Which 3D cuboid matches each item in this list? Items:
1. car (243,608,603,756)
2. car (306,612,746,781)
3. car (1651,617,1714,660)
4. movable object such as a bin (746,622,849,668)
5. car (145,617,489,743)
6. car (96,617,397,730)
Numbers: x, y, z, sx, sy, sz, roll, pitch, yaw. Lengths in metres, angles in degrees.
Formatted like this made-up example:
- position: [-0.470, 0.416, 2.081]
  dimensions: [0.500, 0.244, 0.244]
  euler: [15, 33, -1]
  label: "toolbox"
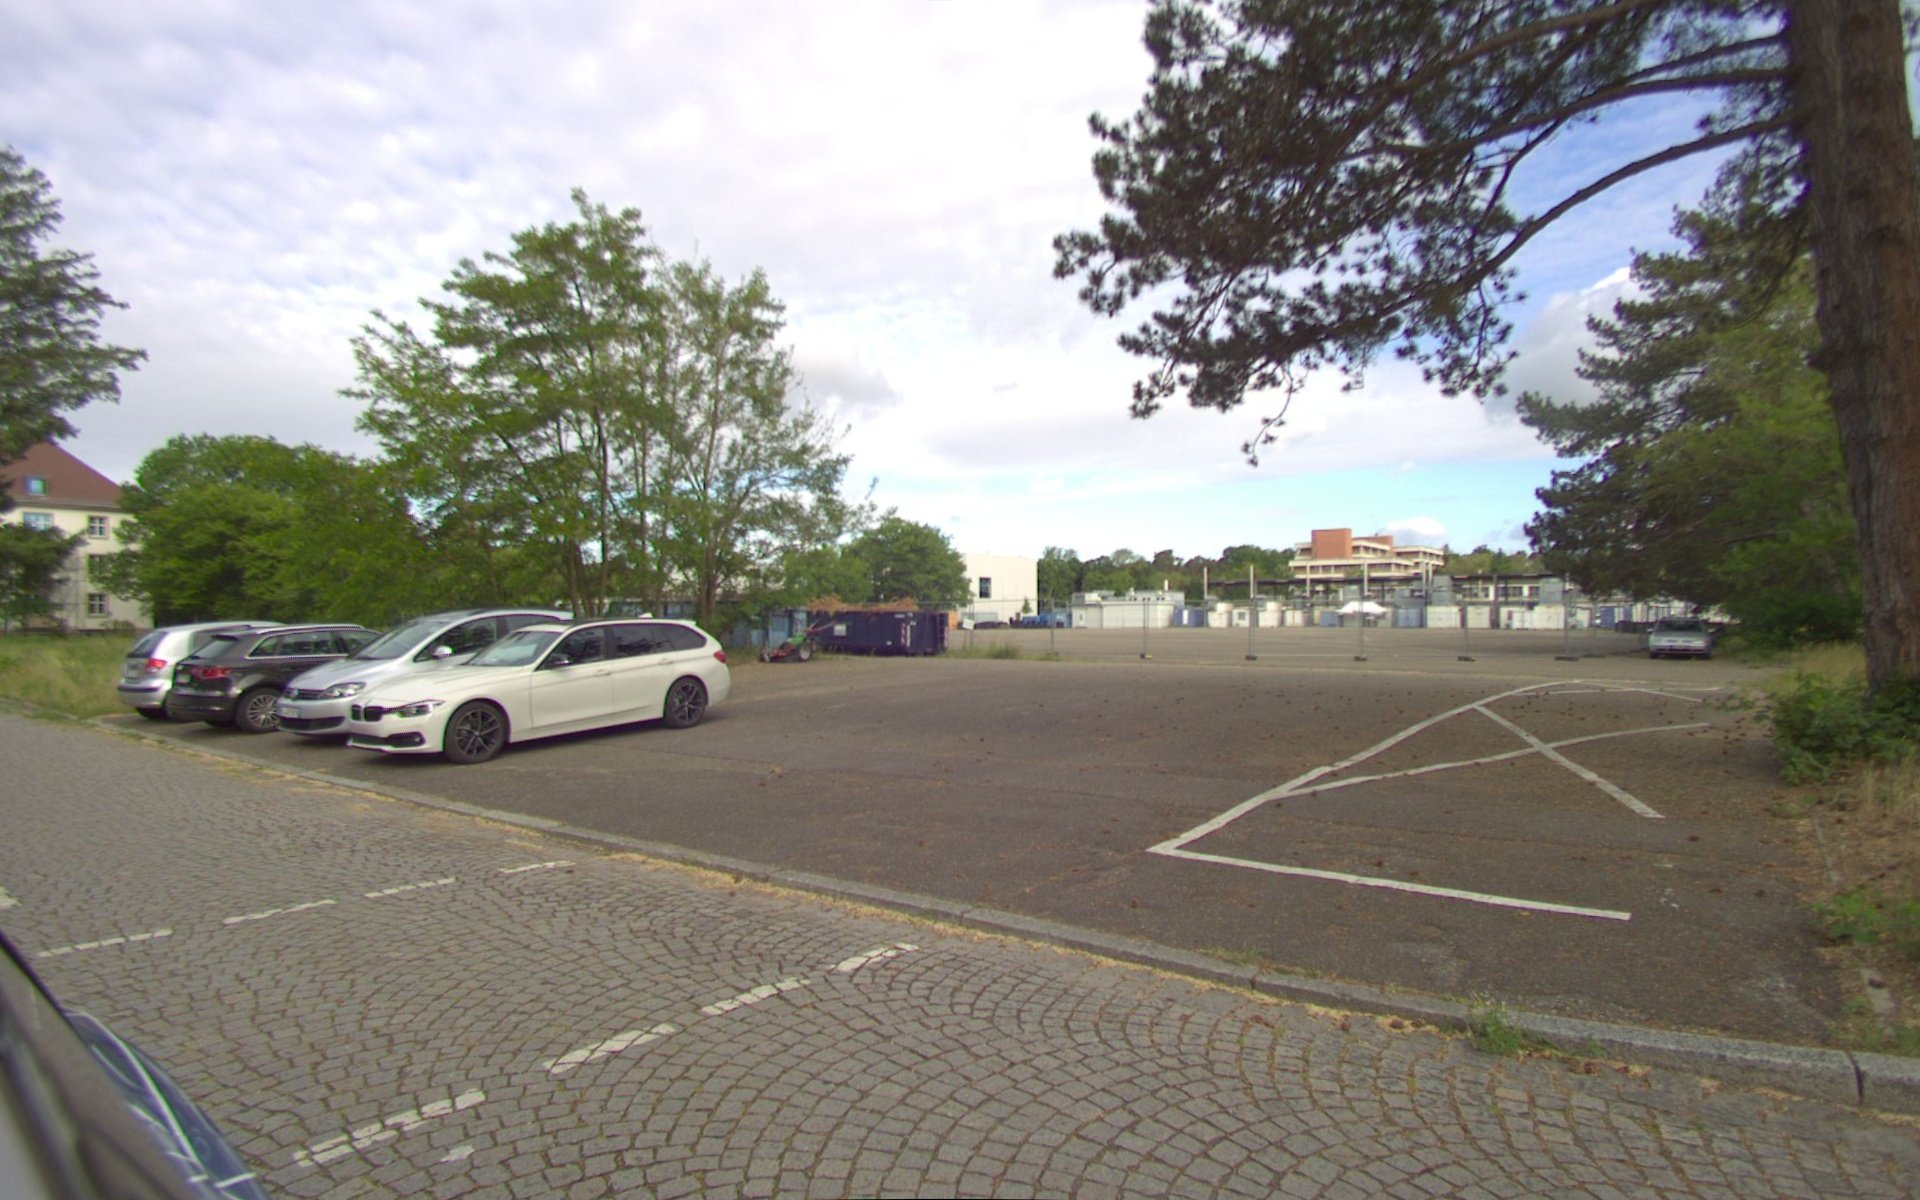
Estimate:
- position: [-7.058, 0.965, 13.696]
  dimensions: [1.719, 1.559, 3.955]
  euler: [-1, 1, 33]
  label: "car"
- position: [-4.914, 0.971, 12.173]
  dimensions: [1.797, 1.454, 4.609]
  euler: [-1, 1, 34]
  label: "car"
- position: [25.217, 1.317, 35.313]
  dimensions: [1.694, 1.403, 3.951]
  euler: [-1, -1, 36]
  label: "car"
- position: [-4.440, 1.210, 27.763]
  dimensions: [1.500, 1.170, 2.365]
  euler: [-1, -2, 43]
  label: "movable object such as a bin"
- position: [-9.394, 1.068, 15.073]
  dimensions: [1.748, 1.438, 3.951]
  euler: [-1, 1, 37]
  label: "car"
- position: [-11.614, 1.110, 16.691]
  dimensions: [1.803, 1.463, 3.648]
  euler: [-1, 1, 33]
  label: "car"
